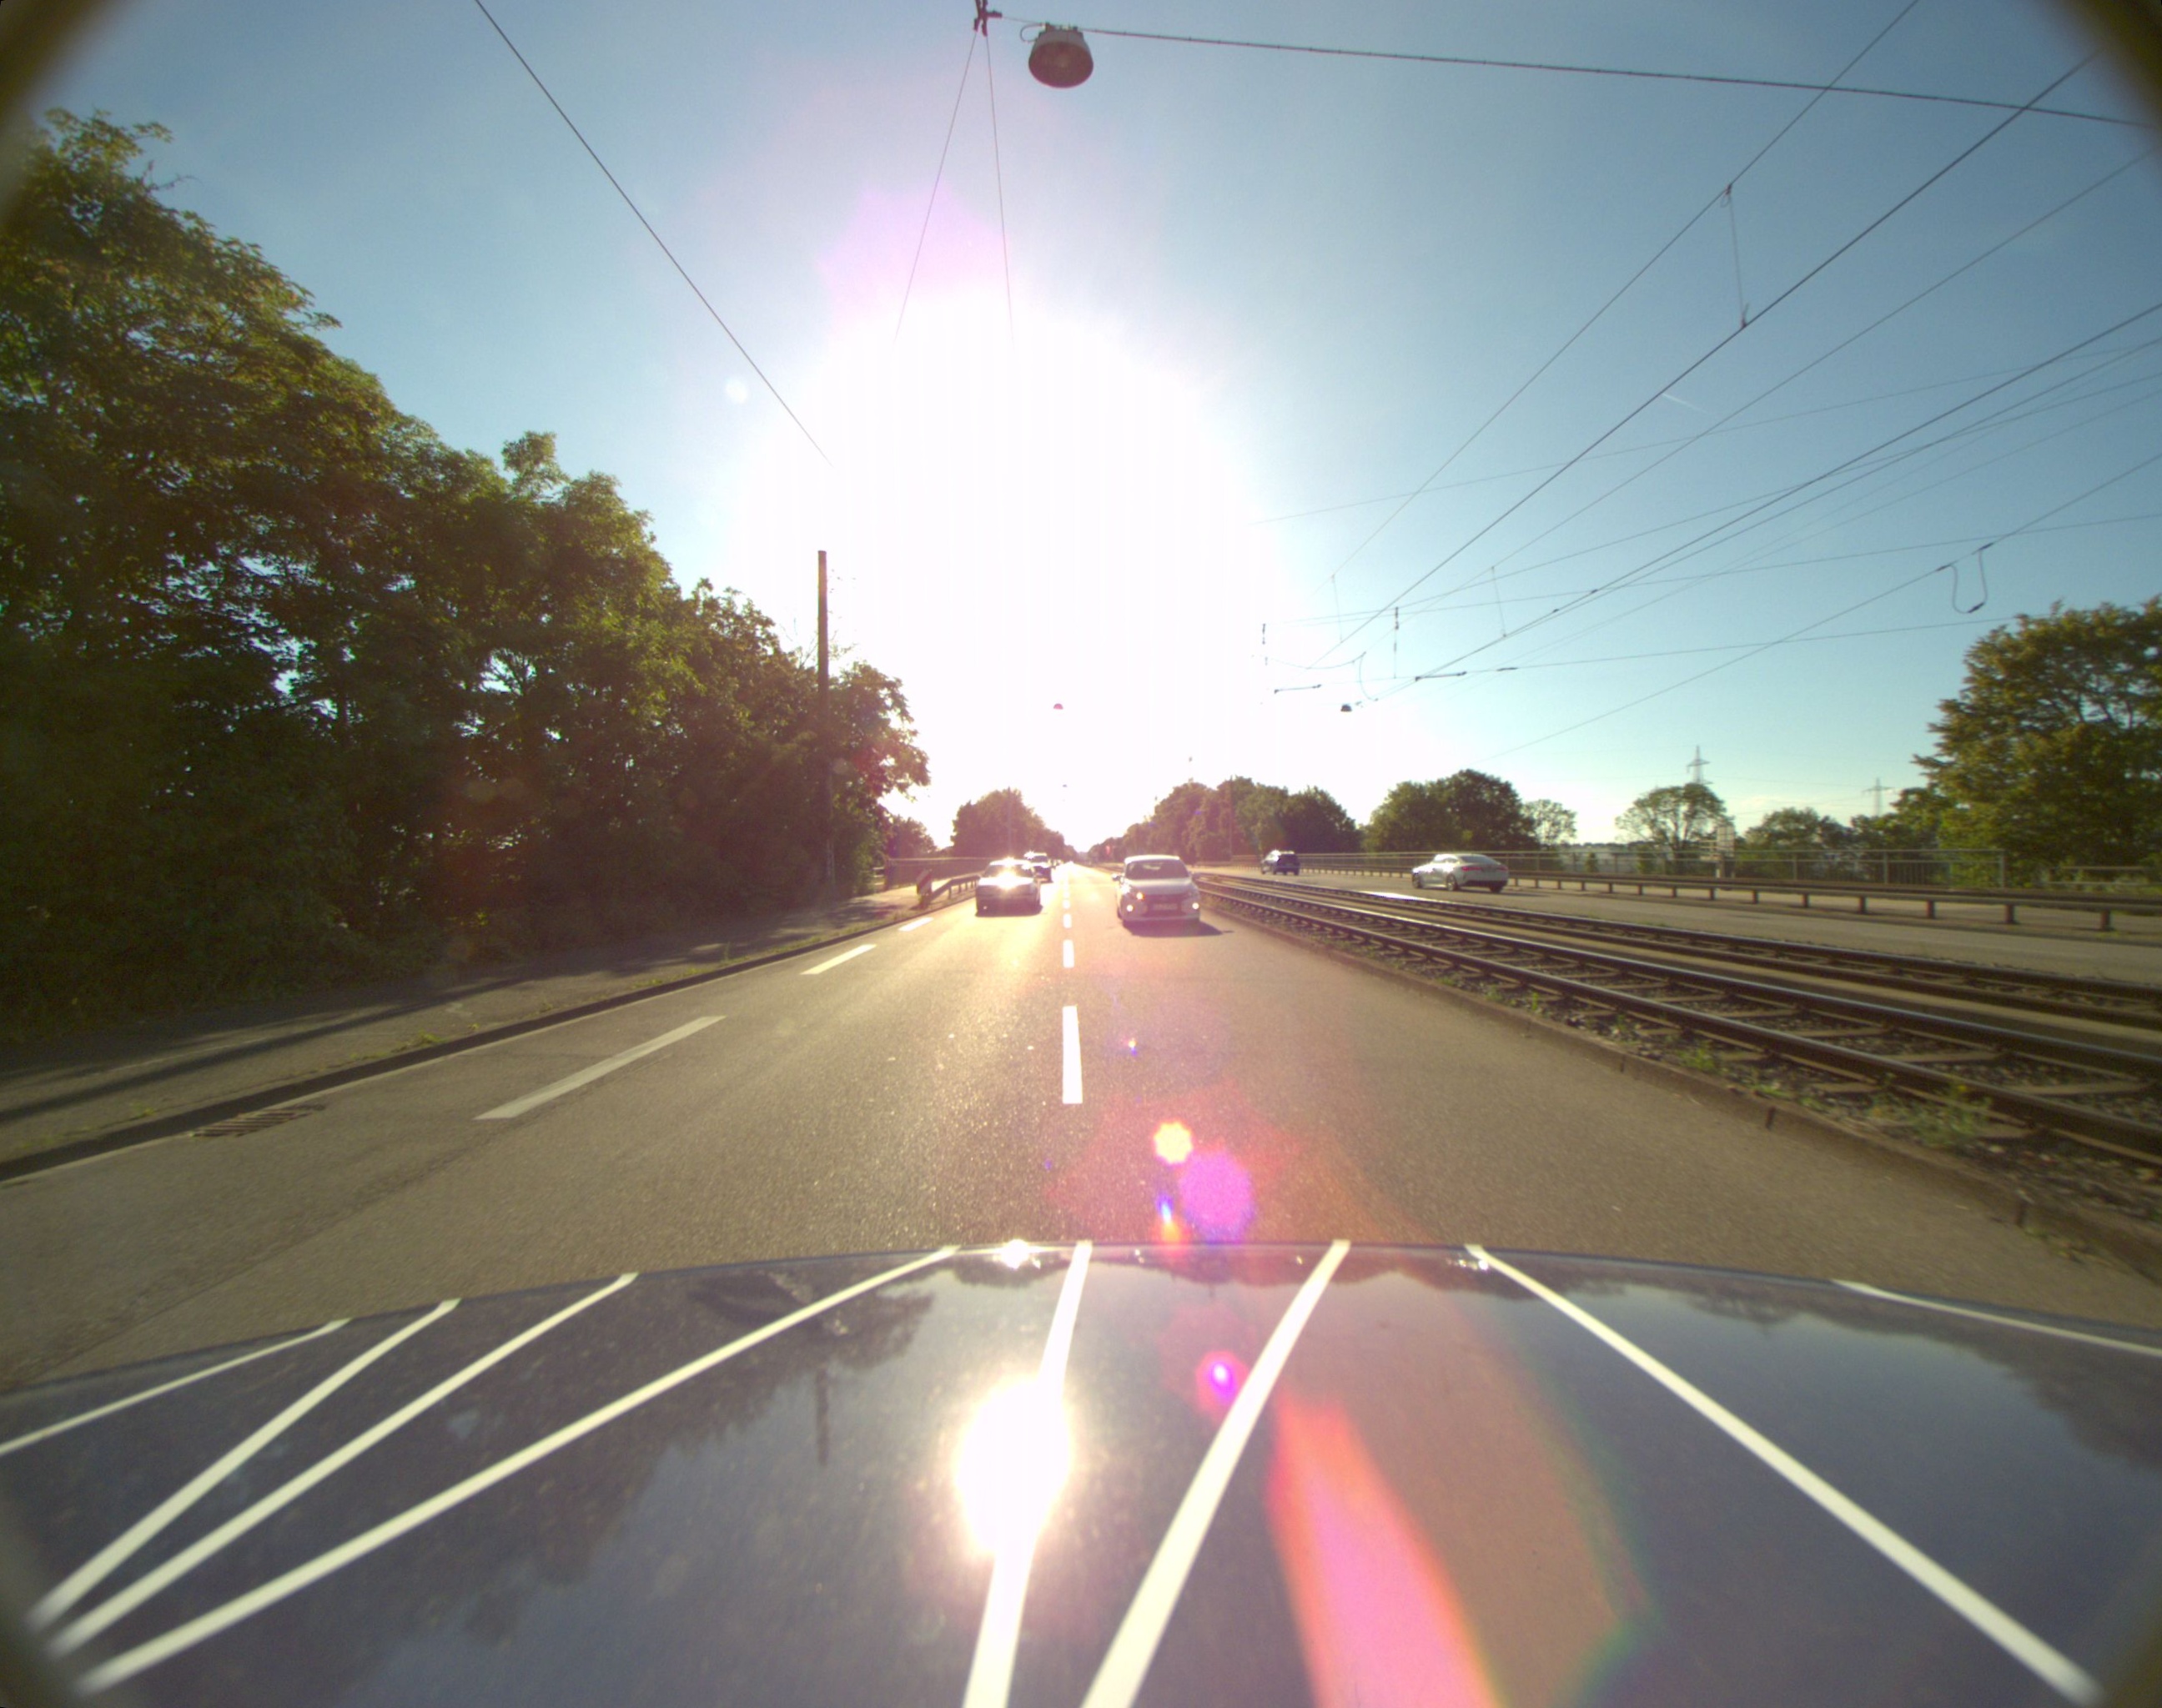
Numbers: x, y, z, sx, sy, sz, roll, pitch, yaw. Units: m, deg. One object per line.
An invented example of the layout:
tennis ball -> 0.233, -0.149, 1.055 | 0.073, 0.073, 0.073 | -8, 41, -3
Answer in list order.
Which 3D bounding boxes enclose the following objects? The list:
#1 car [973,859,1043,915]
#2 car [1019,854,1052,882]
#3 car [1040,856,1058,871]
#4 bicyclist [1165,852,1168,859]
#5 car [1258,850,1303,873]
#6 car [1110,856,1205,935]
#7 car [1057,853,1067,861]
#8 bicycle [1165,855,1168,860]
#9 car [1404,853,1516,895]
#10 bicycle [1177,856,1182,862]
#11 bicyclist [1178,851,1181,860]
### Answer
car -> -2.102, 0.914, 22.870 | 1.693, 1.409, 4.134 | -2, 1, 0
car -> -2.637, 0.794, 44.968 | 1.709, 1.512, 3.843 | -2, 1, 0
car -> -3.659, 1.081, 88.628 | 1.905, 1.512, 3.956 | -2, 1, 0
bicyclist -> 18.187, 0.383, 161.480 | 0.423, 1.420, 0.754 | -2, 1, 5
car -> 13.935, 0.480, 53.330 | 1.713, 1.571, 4.800 | 0, 1, -2
car -> 1.608, 0.838, 17.216 | 1.709, 1.503, 3.862 | -2, 1, 0
car -> -4.081, 0.667, 163.271 | 1.905, 1.512, 3.956 | -2, 1, -1
bicycle -> 18.201, 0.766, 161.425 | 0.426, 0.958, 1.913 | -2, 1, 5
car -> 14.587, 0.713, 29.592 | 1.759, 1.406, 4.876 | 1, 1, -2
bicycle -> 18.636, 0.899, 143.842 | 0.505, 1.046, 1.727 | -2, 1, -1
bicyclist -> 18.611, 0.303, 143.832 | 0.498, 1.741, 0.833 | -2, 1, -1
